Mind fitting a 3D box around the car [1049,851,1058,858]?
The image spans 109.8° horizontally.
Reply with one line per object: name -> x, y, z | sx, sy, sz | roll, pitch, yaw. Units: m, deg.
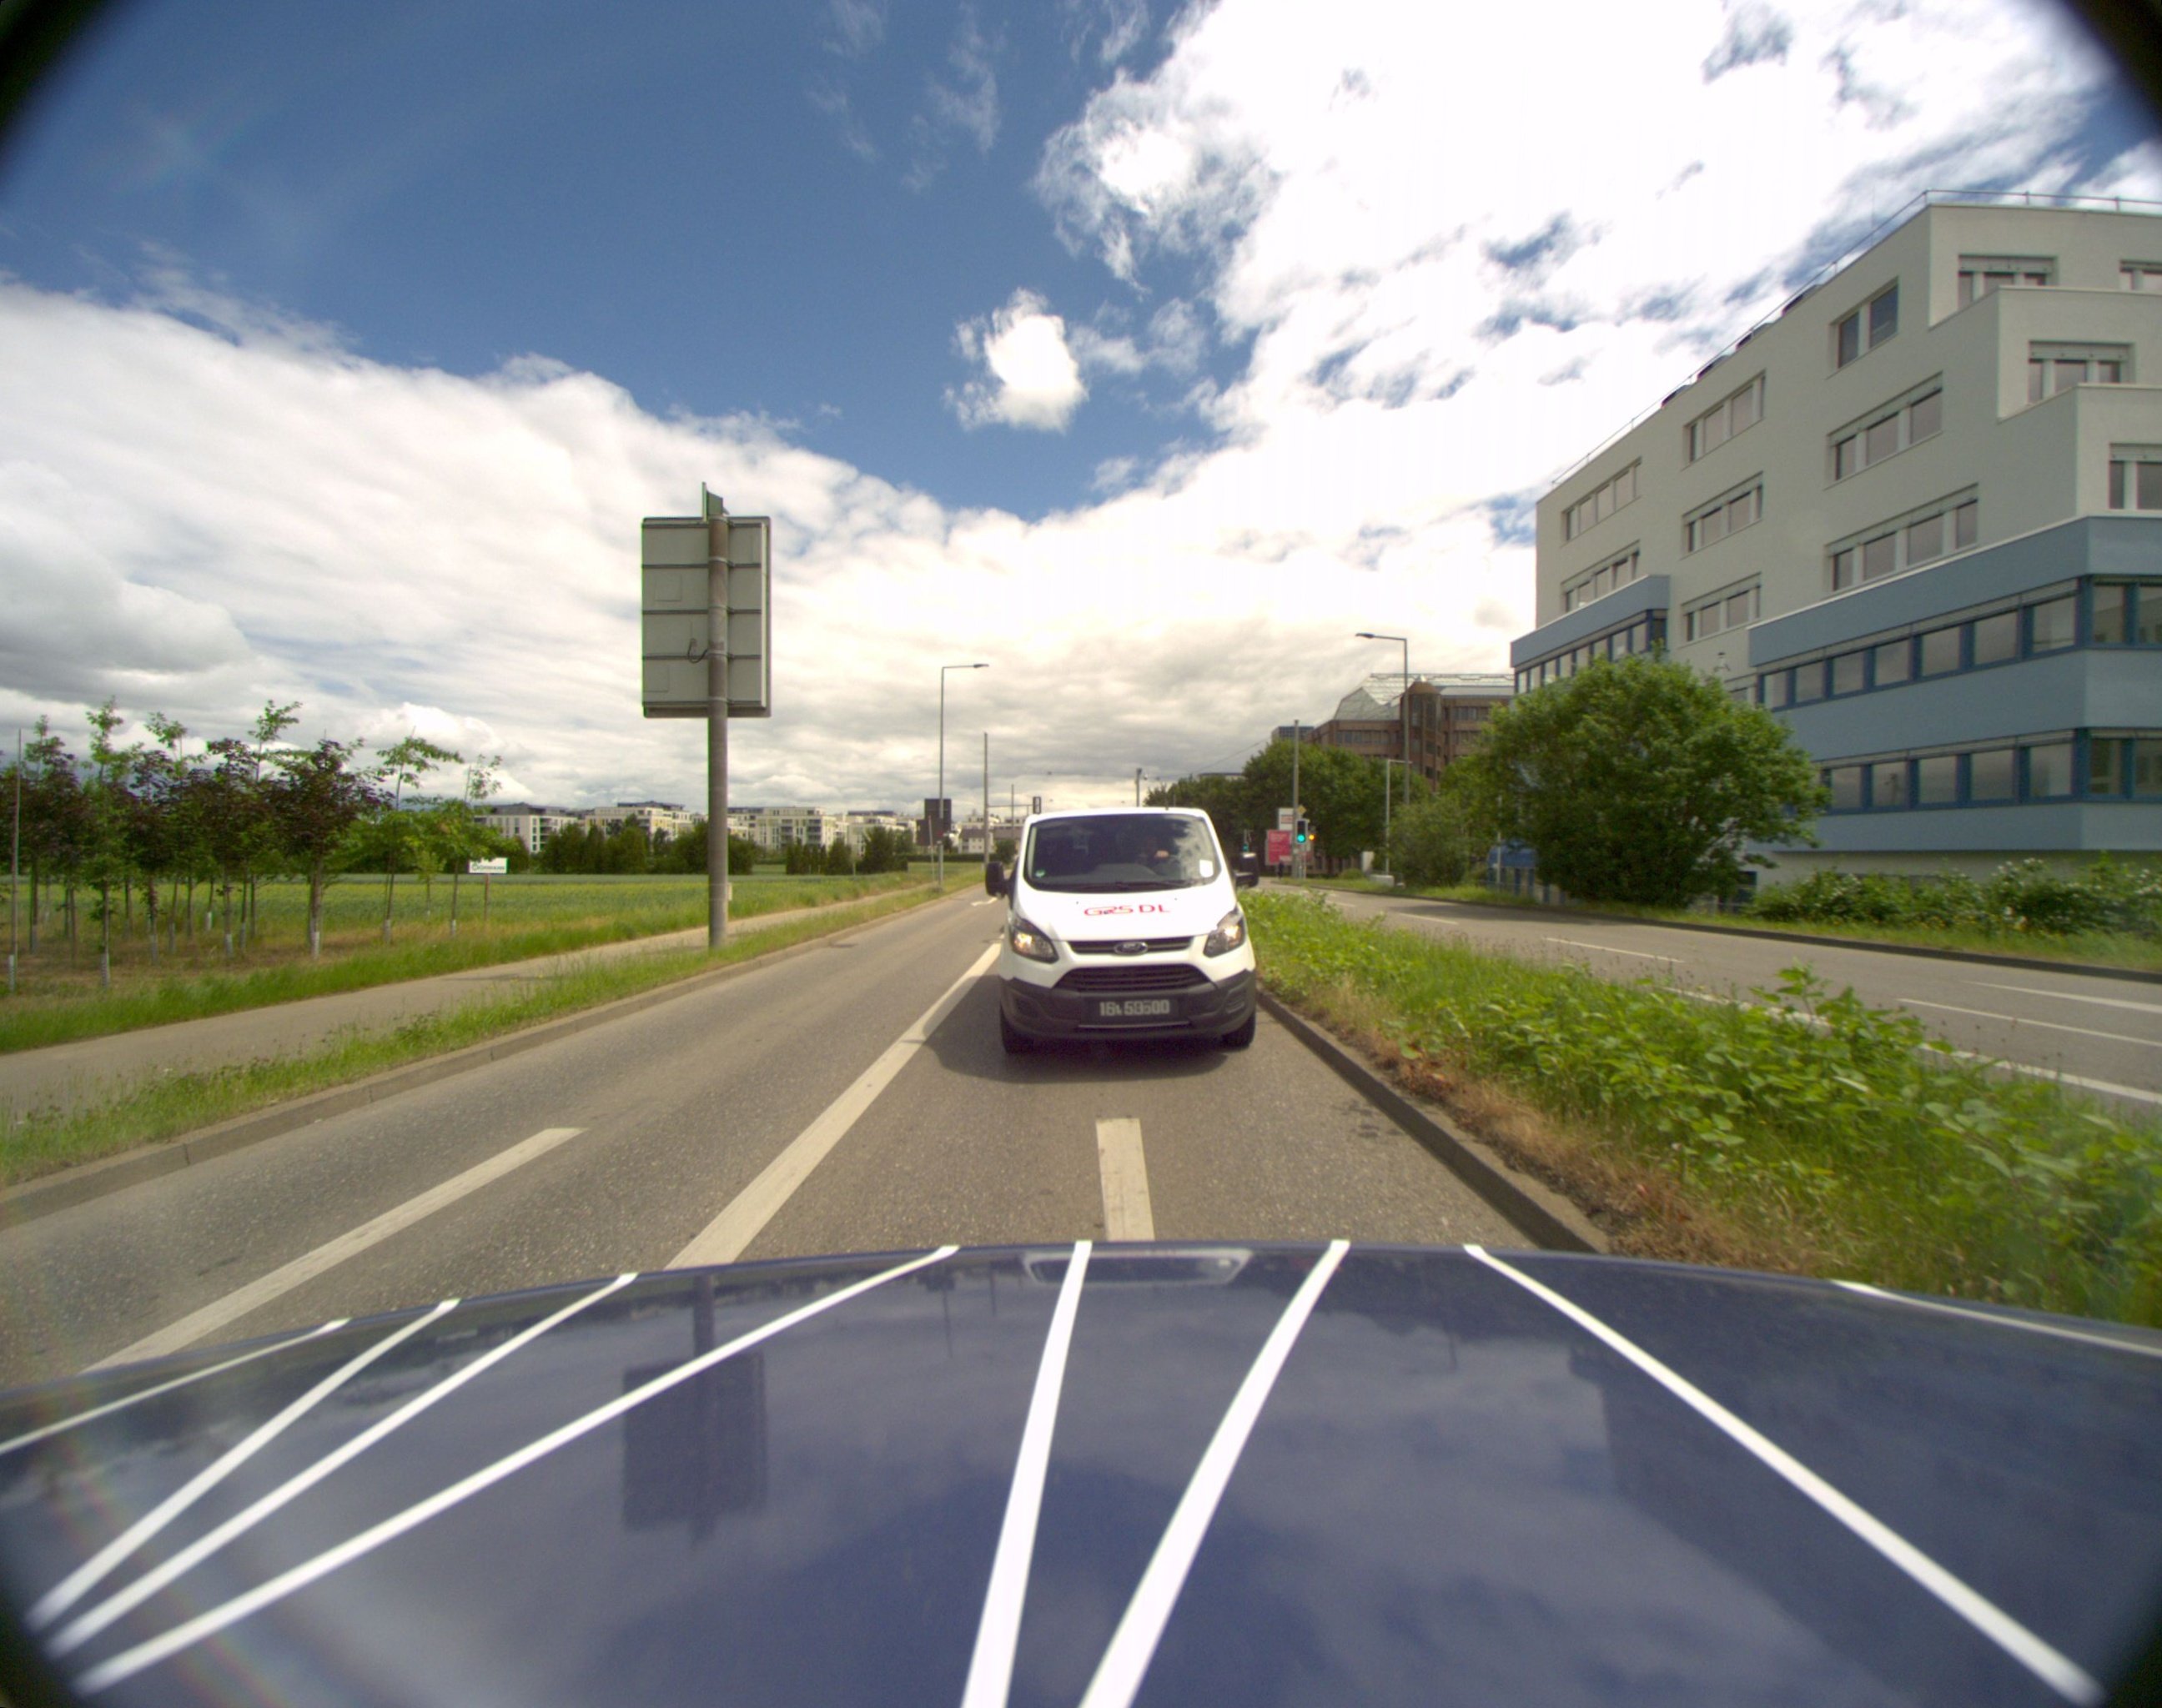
car -> -5.575, 0.105, 156.533 | 1.682, 1.410, 3.739 | -1, 1, -1

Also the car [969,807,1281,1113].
car -> 0.321, 0.689, 7.452 | 1.968, 1.938, 5.055 | -2, 0, 1

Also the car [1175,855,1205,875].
car -> 8.591, 0.854, 60.350 | 1.650, 1.495, 3.449 | -2, 1, -4
